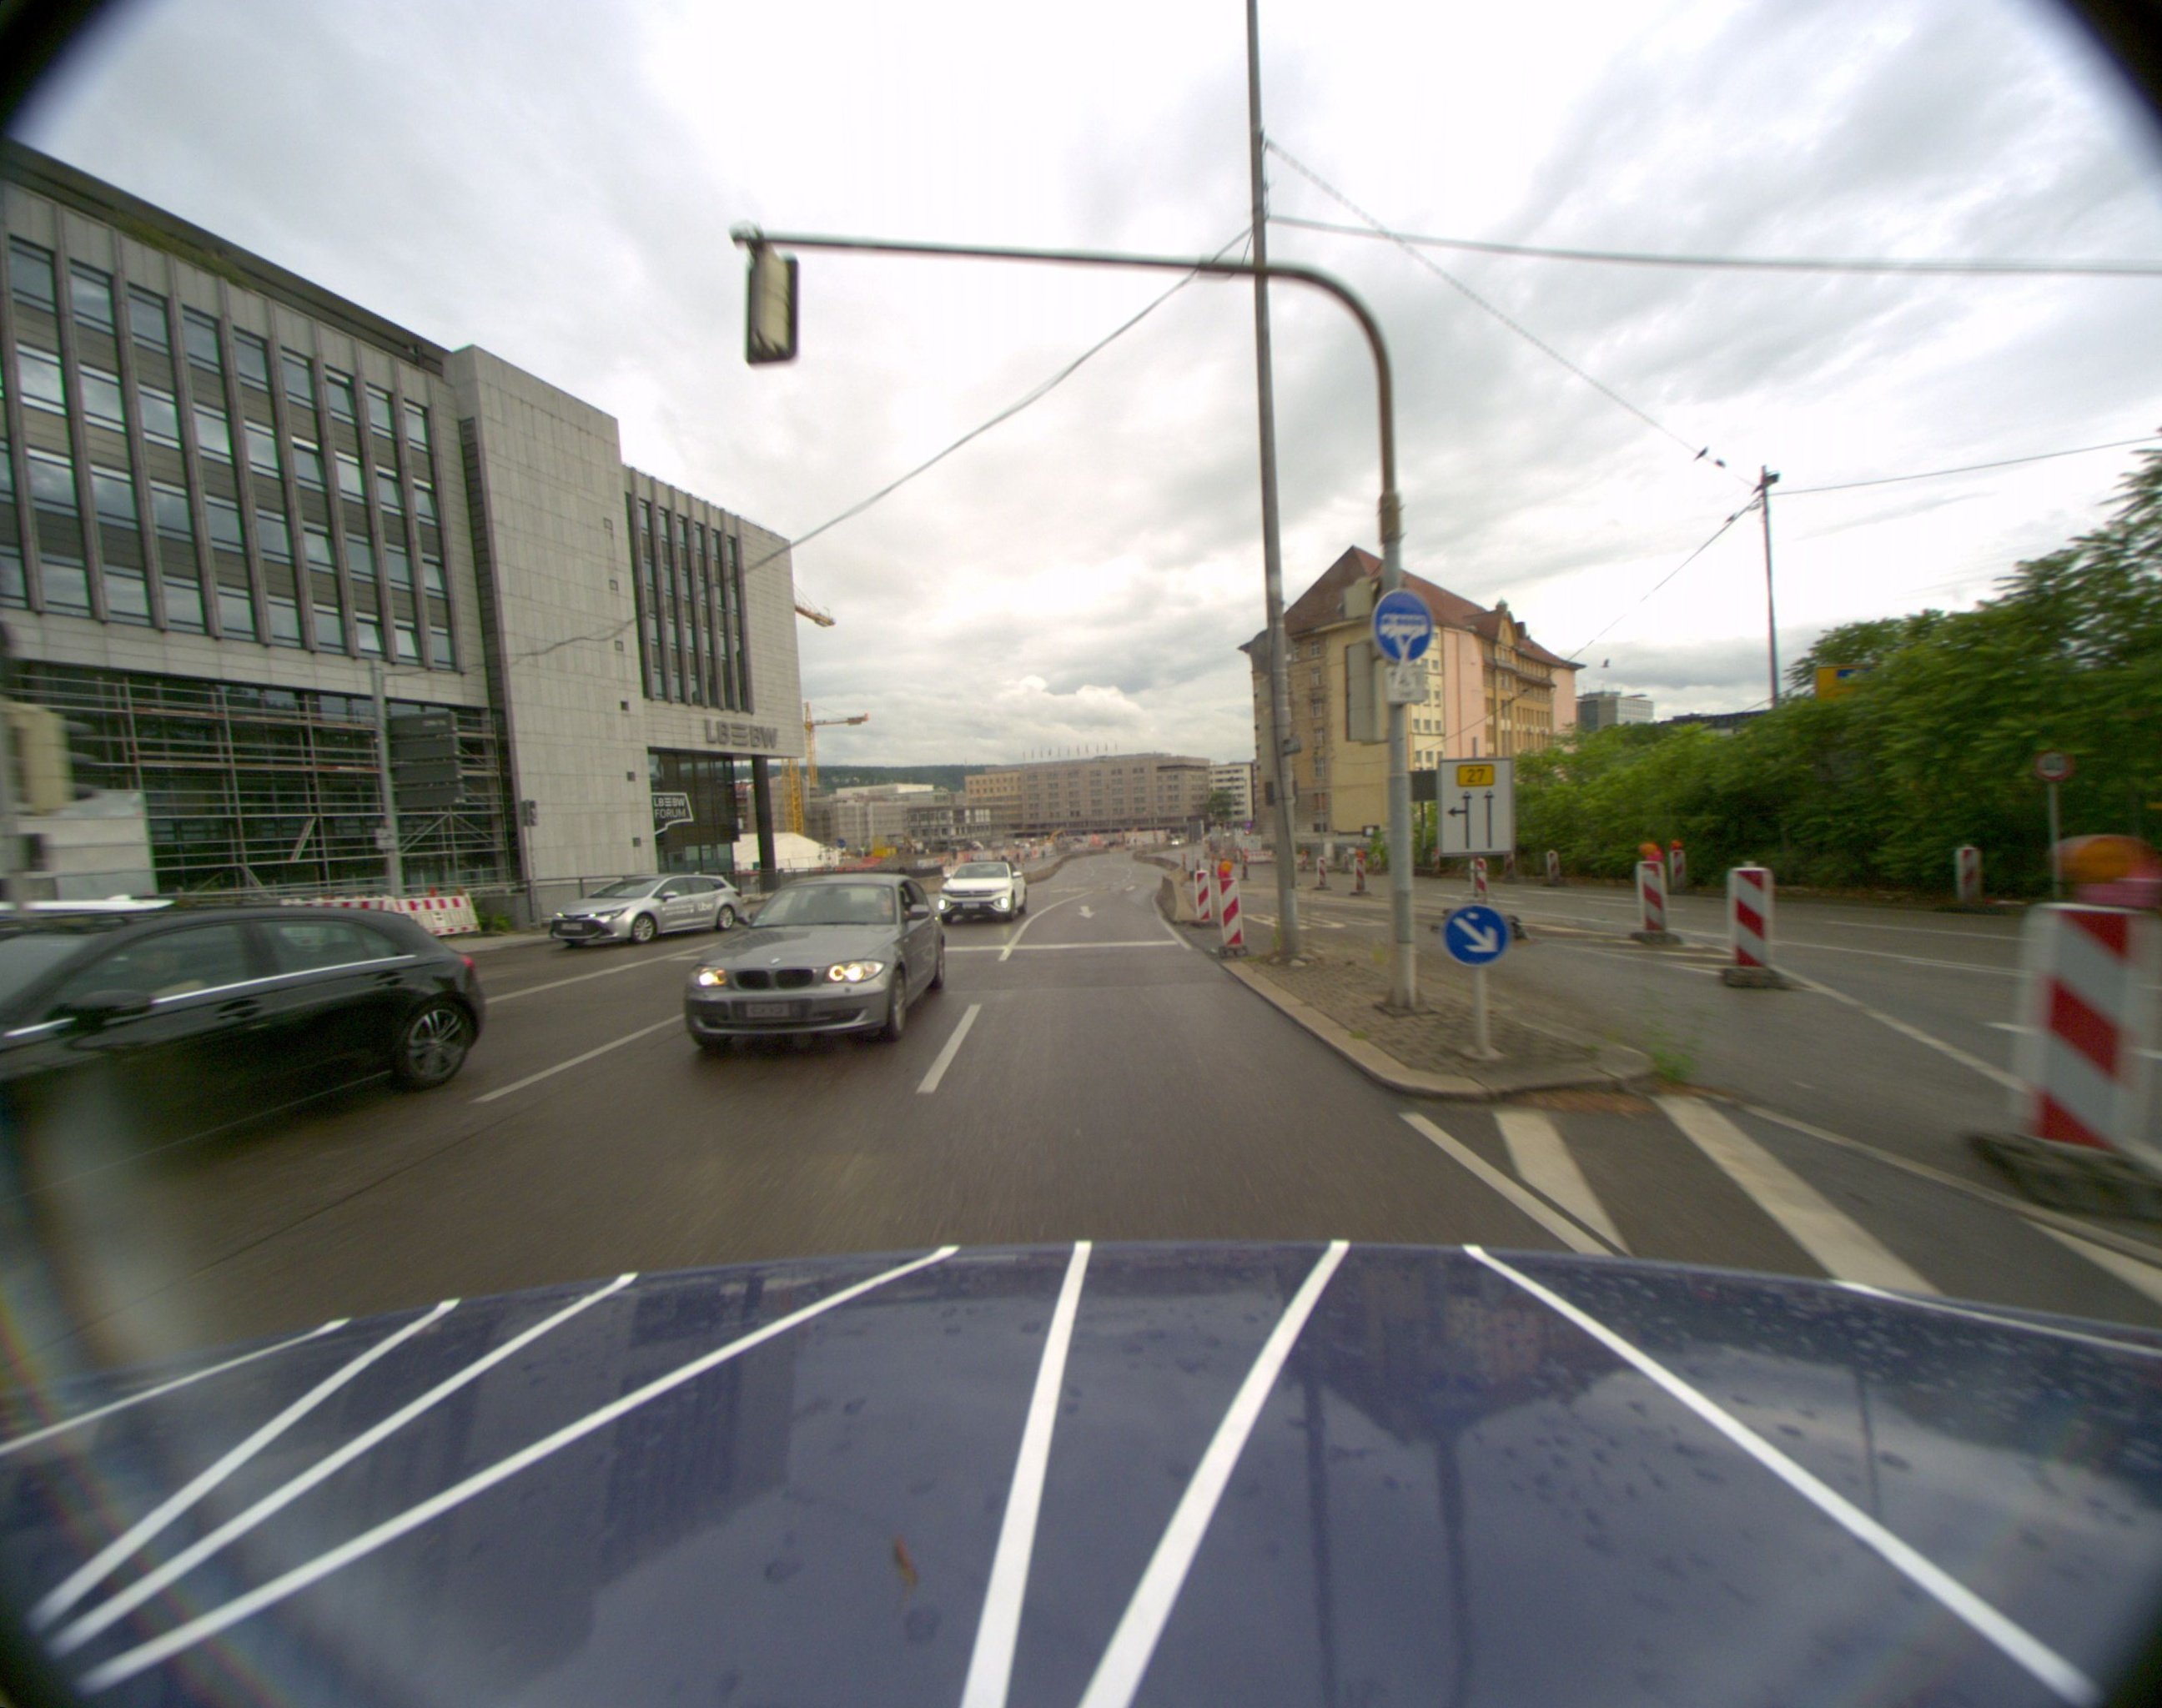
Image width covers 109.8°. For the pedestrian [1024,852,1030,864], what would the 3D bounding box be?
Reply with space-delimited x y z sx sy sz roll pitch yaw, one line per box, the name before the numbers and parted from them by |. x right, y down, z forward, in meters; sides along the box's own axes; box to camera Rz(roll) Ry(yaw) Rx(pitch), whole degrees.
pedestrian | -7.577 0.511 106.340 0.648 1.624 0.907 -3 3 0

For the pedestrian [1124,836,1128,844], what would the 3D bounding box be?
pedestrian | 9.694 -2.927 163.020 0.654 1.682 0.776 0 4 24

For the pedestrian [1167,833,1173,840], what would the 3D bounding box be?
pedestrian | 23.237 -4.604 198.597 1.097 1.752 0.907 1 4 27

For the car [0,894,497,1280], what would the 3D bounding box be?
car | -5.433 1.090 3.786 1.759 1.399 4.225 -1 2 -1

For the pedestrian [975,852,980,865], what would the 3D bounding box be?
pedestrian | -14.932 0.670 109.652 0.567 1.739 0.495 -2 4 18

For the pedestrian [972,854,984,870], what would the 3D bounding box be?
pedestrian | -10.444 0.820 77.259 0.732 1.566 0.806 -2 3 28

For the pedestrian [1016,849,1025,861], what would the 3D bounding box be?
pedestrian | -9.424 0.143 118.657 0.867 1.808 1.009 -2 4 19

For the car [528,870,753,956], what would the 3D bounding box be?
car | -9.582 1.206 17.060 1.704 1.443 4.619 -3 1 10

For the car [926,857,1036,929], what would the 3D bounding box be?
car | -2.482 0.924 19.960 1.968 1.540 4.219 -3 1 5

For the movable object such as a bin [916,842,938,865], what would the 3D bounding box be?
movable object such as a bin | -24.235 -0.104 119.441 1.941 3.391 4.230 -2 3 7

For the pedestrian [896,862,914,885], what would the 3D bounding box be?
pedestrian | -13.078 1.447 56.510 0.730 1.643 1.062 -1 3 28

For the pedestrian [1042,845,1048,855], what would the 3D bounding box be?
pedestrian | -6.092 -0.742 129.159 0.746 1.697 0.687 0 4 14

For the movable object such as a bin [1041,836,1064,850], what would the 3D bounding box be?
movable object such as a bin | -5.785 -2.241 155.456 4.134 2.522 1.994 -5 4 -35

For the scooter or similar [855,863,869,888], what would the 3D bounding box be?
scooter or similar | -10.424 1.033 36.152 0.349 1.156 0.573 -2 2 15

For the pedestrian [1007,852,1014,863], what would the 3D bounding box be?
pedestrian | -10.197 0.571 109.641 0.609 1.514 0.886 -2 4 19

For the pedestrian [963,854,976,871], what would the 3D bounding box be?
pedestrian | -11.330 0.868 77.163 0.861 1.585 0.953 -1 4 28

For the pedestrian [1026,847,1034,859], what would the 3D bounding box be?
pedestrian | -8.315 -0.184 123.168 0.818 1.839 0.933 0 4 36

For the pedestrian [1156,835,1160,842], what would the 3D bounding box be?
pedestrian | 18.675 -3.794 184.150 0.648 1.660 0.766 -1 4 11

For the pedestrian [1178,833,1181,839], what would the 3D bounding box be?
pedestrian | 25.947 -4.732 199.343 0.756 1.752 0.766 -1 4 11

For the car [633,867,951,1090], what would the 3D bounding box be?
car | -2.468 0.955 7.617 1.744 1.435 3.998 -3 1 -3

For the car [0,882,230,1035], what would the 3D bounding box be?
car | -13.326 1.288 8.641 1.772 1.625 4.589 -2 1 34

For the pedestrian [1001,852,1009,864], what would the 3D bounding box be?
pedestrian | -10.962 0.590 109.668 0.715 1.545 1.009 -2 3 19
